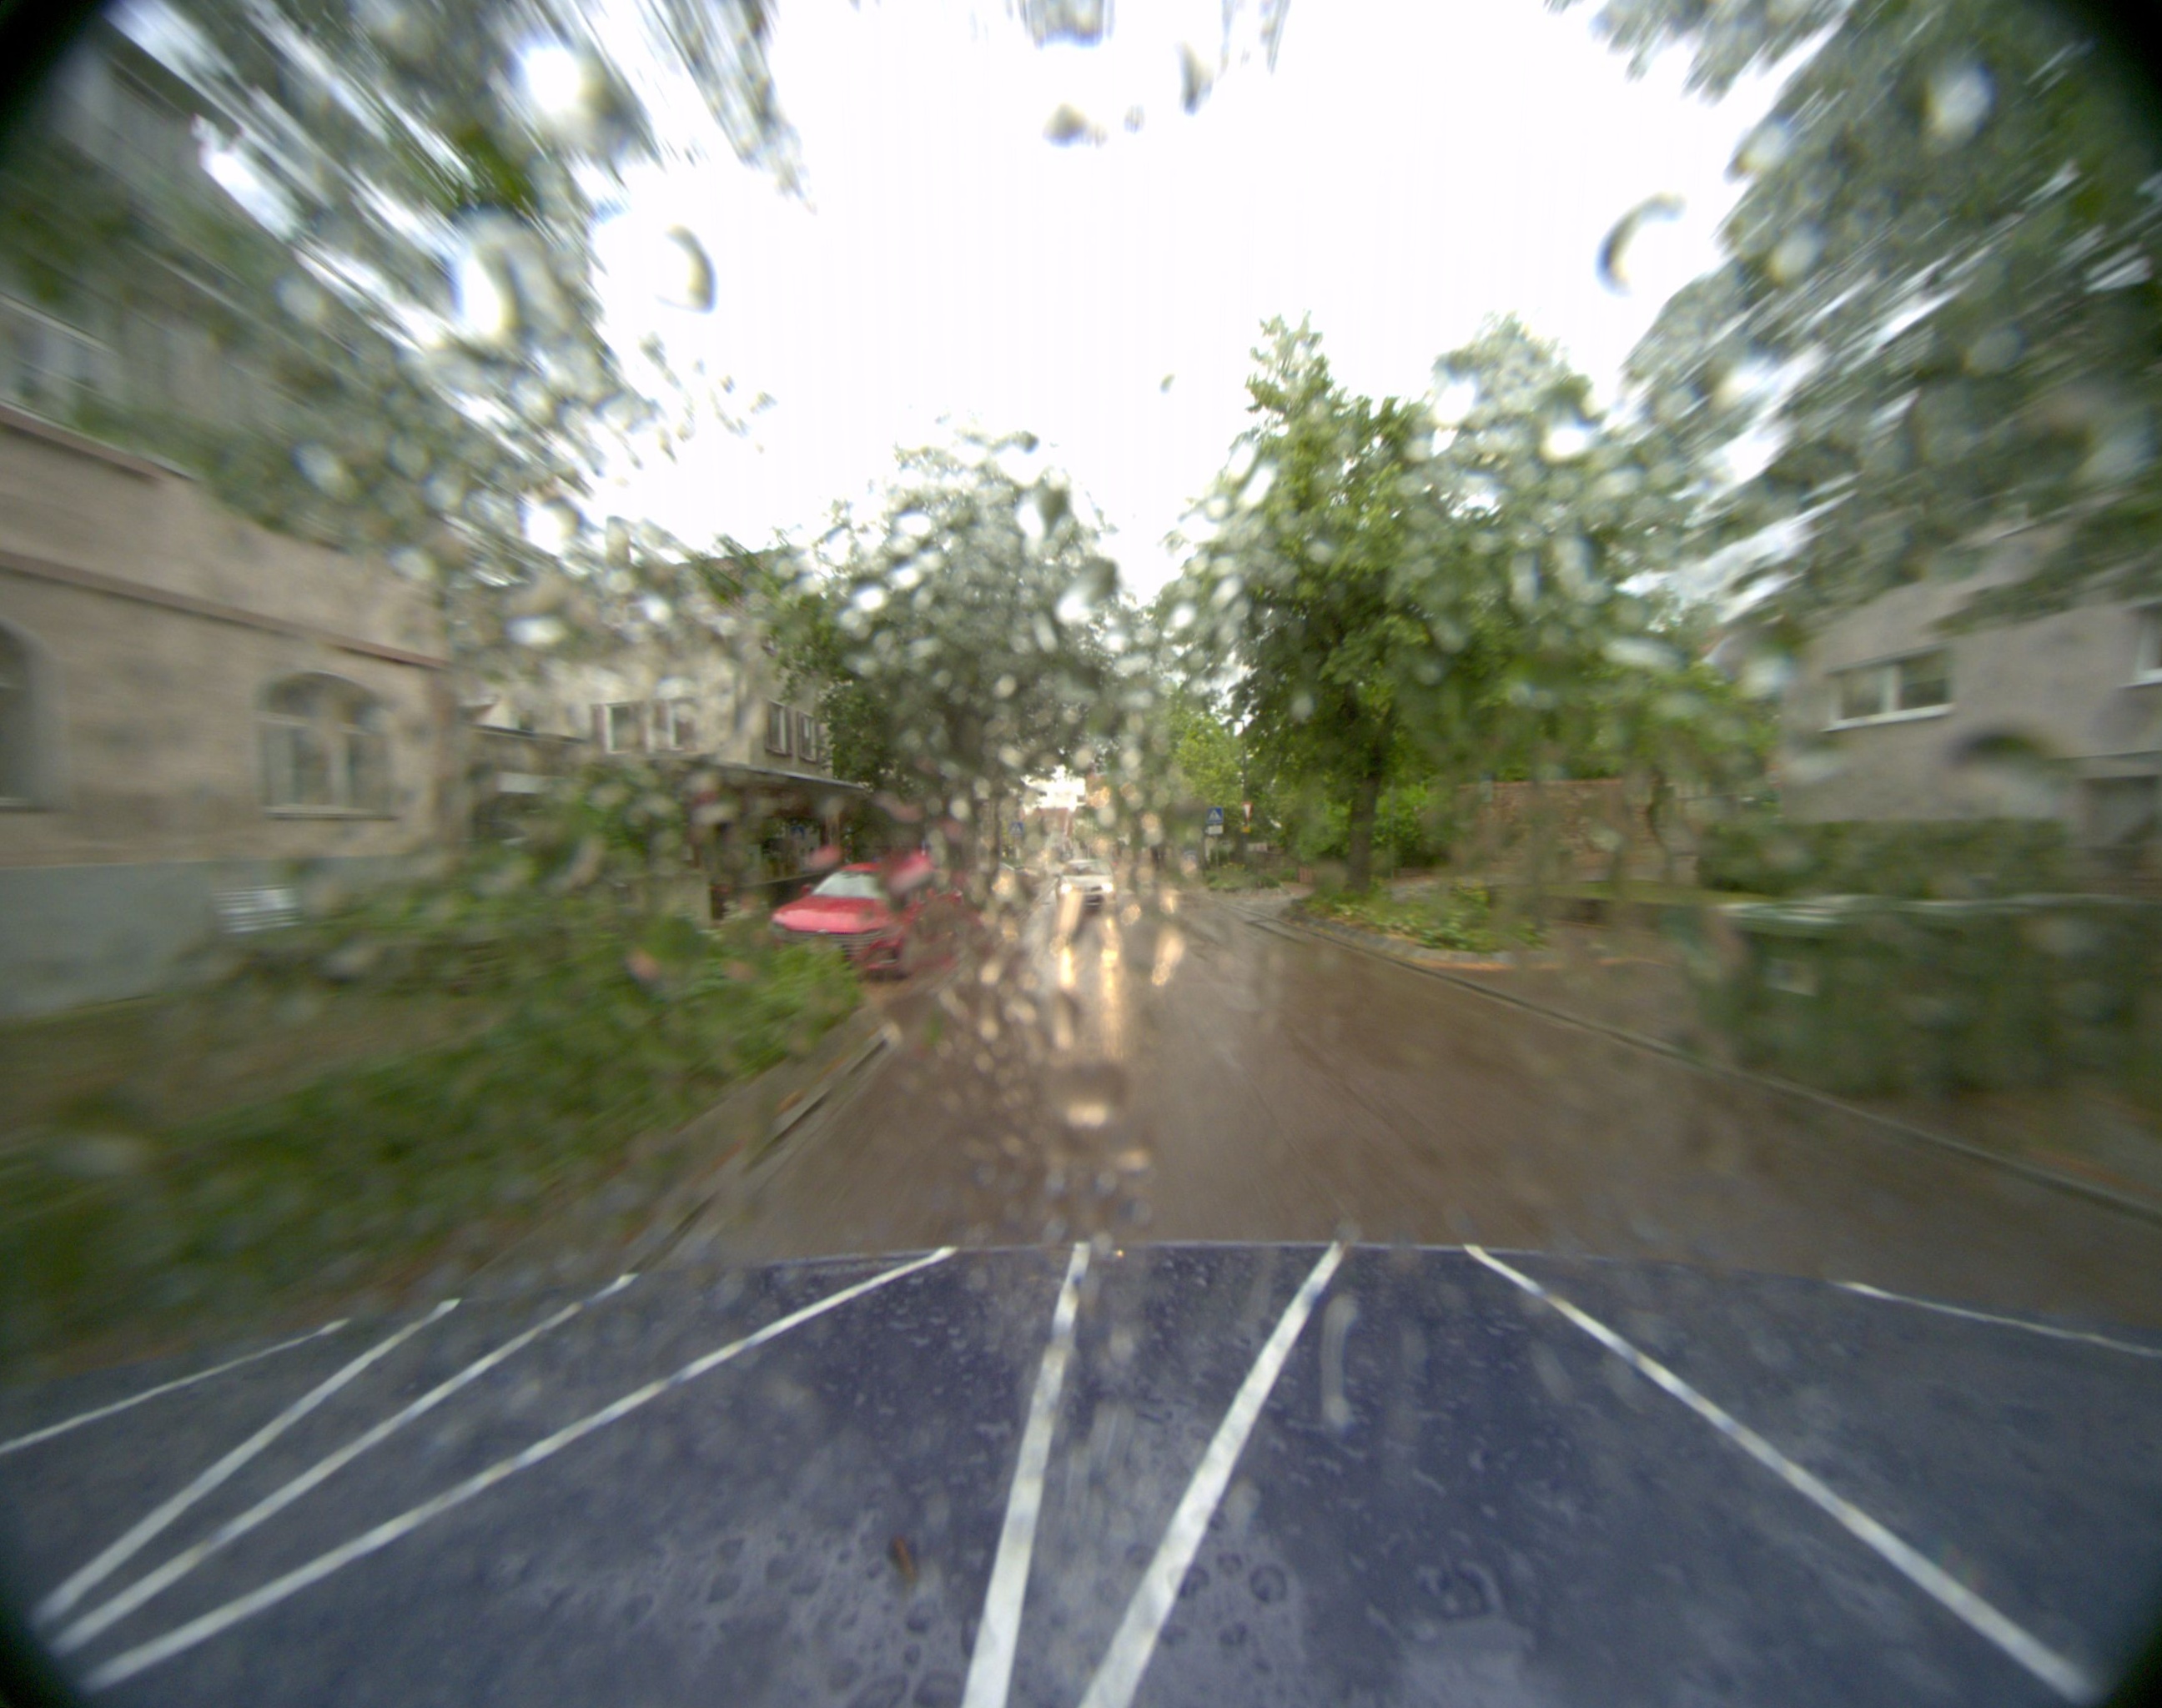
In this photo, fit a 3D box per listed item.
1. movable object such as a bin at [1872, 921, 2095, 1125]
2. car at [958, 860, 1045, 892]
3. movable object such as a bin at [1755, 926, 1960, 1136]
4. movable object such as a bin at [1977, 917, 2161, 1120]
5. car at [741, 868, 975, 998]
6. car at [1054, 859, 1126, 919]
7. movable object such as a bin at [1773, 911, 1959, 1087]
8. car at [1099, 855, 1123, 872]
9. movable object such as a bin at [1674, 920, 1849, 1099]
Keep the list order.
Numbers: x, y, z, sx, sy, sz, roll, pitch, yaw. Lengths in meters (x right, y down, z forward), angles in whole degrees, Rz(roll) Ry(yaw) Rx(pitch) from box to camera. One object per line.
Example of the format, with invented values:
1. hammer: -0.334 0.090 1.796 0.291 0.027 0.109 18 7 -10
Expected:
1. movable object such as a bin: 5.356 0.972 4.540 0.618 1.053 0.568 -4 1 -1
2. car: -4.030 1.111 39.238 4.270 1.451 1.829 -2 0 -1
3. movable object such as a bin: 4.565 1.011 4.503 0.585 1.071 0.570 -4 1 -1
4. movable object such as a bin: 6.024 0.951 4.550 0.618 1.053 0.561 -4 1 -1
5. car: -3.010 0.990 11.498 1.896 1.460 4.824 0 0 3
6. car: 0.314 0.926 21.708 1.828 1.451 3.876 -2 0 3
7. movable object such as a bin: 5.342 0.958 5.201 0.625 1.055 0.582 -4 1 -1
8. car: 2.629 0.843 67.191 1.828 1.353 3.874 -2 0 -1
9. movable object such as a bin: 4.564 1.017 5.128 0.629 1.053 0.565 -4 1 -1
